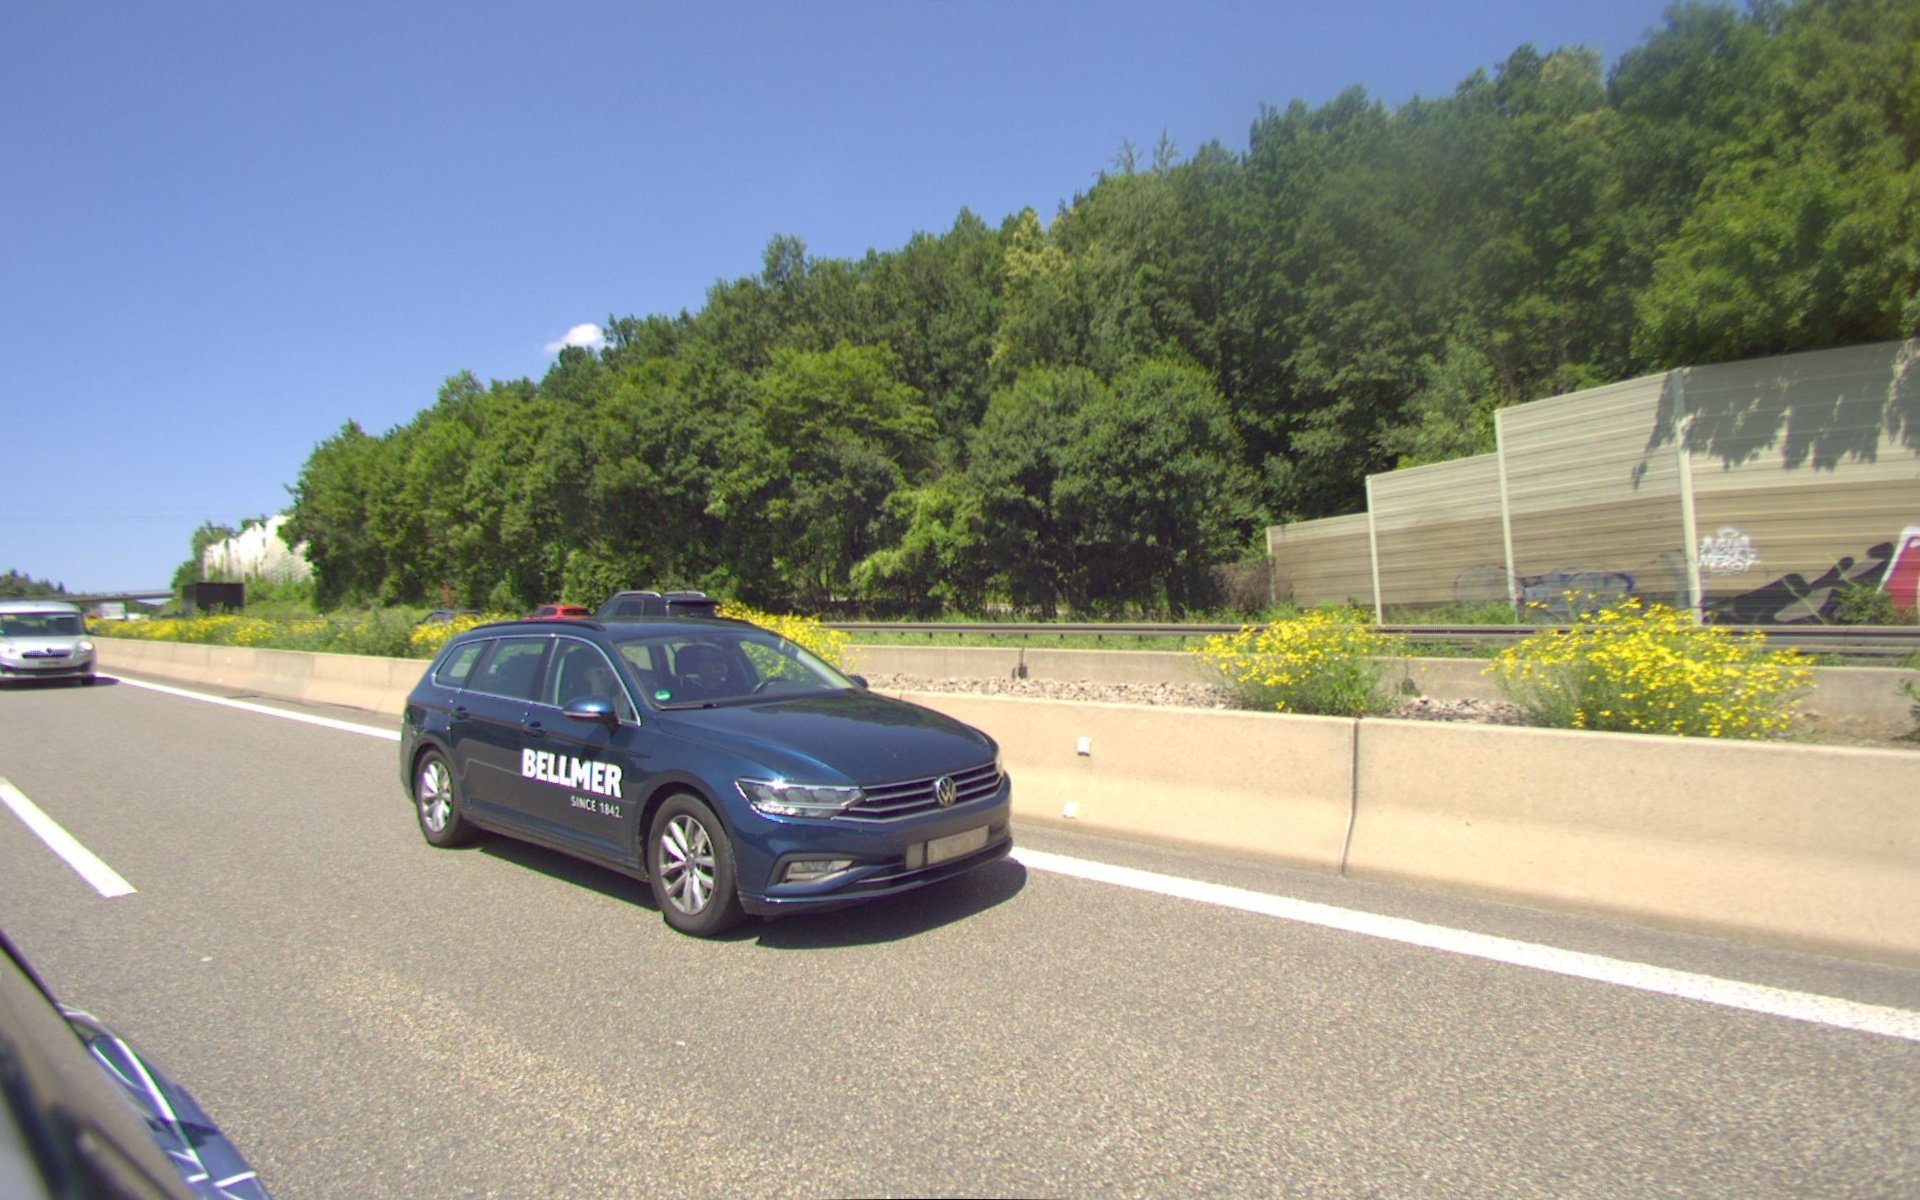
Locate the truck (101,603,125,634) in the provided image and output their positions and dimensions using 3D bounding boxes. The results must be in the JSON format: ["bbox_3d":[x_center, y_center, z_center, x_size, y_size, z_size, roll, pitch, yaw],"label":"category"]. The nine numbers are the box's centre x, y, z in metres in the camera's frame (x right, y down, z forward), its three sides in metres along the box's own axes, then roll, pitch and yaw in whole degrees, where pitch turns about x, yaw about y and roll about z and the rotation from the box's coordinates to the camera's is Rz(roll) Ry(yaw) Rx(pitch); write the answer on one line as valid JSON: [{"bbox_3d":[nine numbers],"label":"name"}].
[{"bbox_3d":[-114.284,2.490,136.569,2.352,3.986,6.915,-1,-1,-39],"label":"truck"}]

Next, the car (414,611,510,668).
[{"bbox_3d":[-16.762,1.311,34.018,3.883,1.784,1.516,-2,-1,41],"label":"car"}]

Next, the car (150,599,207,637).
[{"bbox_3d":[-38.786,0.909,50.197,3.883,1.784,1.516,-2,-1,41],"label":"car"}]

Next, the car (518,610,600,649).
[{"bbox_3d":[-17.649,1.265,44.437,3.998,1.647,1.709,-1,0,41],"label":"car"}]

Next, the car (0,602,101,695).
[{"bbox_3d":[-20.296,1.014,22.109,3.998,1.858,1.758,-2,-1,41],"label":"car"}]

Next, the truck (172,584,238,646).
[{"bbox_3d":[-45.764,0.918,61.253,6.023,3.532,1.973,-2,-1,41],"label":"truck"}]

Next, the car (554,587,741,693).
[{"bbox_3d":[-5.902,0.710,18.919,3.883,1.784,1.516,-2,-1,41],"label":"car"}]

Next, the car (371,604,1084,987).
[{"bbox_3d":[-1.713,0.785,6.041,4.728,1.438,1.714,-2,-1,41],"label":"car"}]
